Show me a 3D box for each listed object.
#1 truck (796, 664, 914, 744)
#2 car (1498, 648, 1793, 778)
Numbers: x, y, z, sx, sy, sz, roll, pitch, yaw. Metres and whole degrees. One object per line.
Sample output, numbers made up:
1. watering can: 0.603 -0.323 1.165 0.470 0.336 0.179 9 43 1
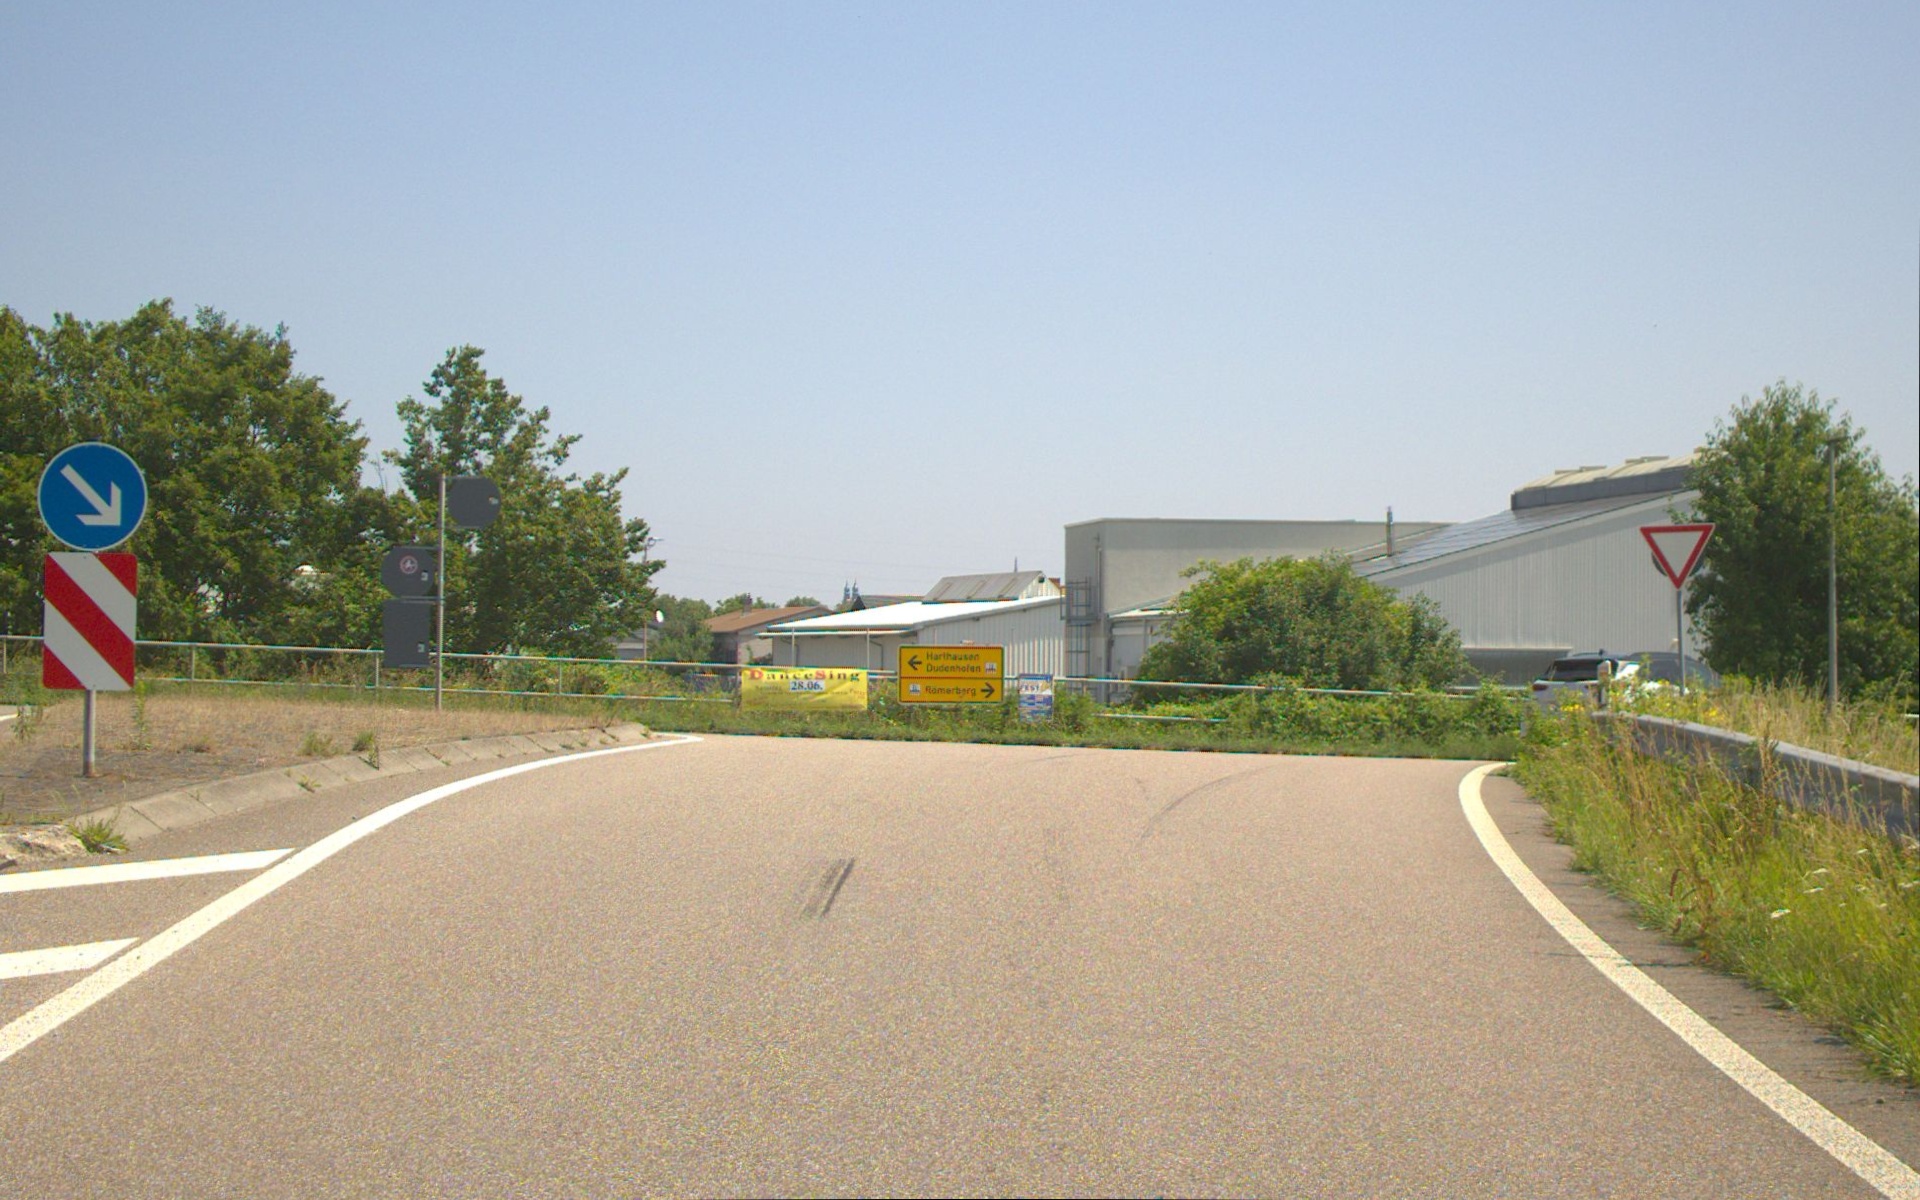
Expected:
1. truck: -6.063 5.868 195.302 3.707 4.297 13.344 2 -2 -15
2. car: 9.301 1.493 46.517 3.988 1.685 1.814 1 -1 -40
